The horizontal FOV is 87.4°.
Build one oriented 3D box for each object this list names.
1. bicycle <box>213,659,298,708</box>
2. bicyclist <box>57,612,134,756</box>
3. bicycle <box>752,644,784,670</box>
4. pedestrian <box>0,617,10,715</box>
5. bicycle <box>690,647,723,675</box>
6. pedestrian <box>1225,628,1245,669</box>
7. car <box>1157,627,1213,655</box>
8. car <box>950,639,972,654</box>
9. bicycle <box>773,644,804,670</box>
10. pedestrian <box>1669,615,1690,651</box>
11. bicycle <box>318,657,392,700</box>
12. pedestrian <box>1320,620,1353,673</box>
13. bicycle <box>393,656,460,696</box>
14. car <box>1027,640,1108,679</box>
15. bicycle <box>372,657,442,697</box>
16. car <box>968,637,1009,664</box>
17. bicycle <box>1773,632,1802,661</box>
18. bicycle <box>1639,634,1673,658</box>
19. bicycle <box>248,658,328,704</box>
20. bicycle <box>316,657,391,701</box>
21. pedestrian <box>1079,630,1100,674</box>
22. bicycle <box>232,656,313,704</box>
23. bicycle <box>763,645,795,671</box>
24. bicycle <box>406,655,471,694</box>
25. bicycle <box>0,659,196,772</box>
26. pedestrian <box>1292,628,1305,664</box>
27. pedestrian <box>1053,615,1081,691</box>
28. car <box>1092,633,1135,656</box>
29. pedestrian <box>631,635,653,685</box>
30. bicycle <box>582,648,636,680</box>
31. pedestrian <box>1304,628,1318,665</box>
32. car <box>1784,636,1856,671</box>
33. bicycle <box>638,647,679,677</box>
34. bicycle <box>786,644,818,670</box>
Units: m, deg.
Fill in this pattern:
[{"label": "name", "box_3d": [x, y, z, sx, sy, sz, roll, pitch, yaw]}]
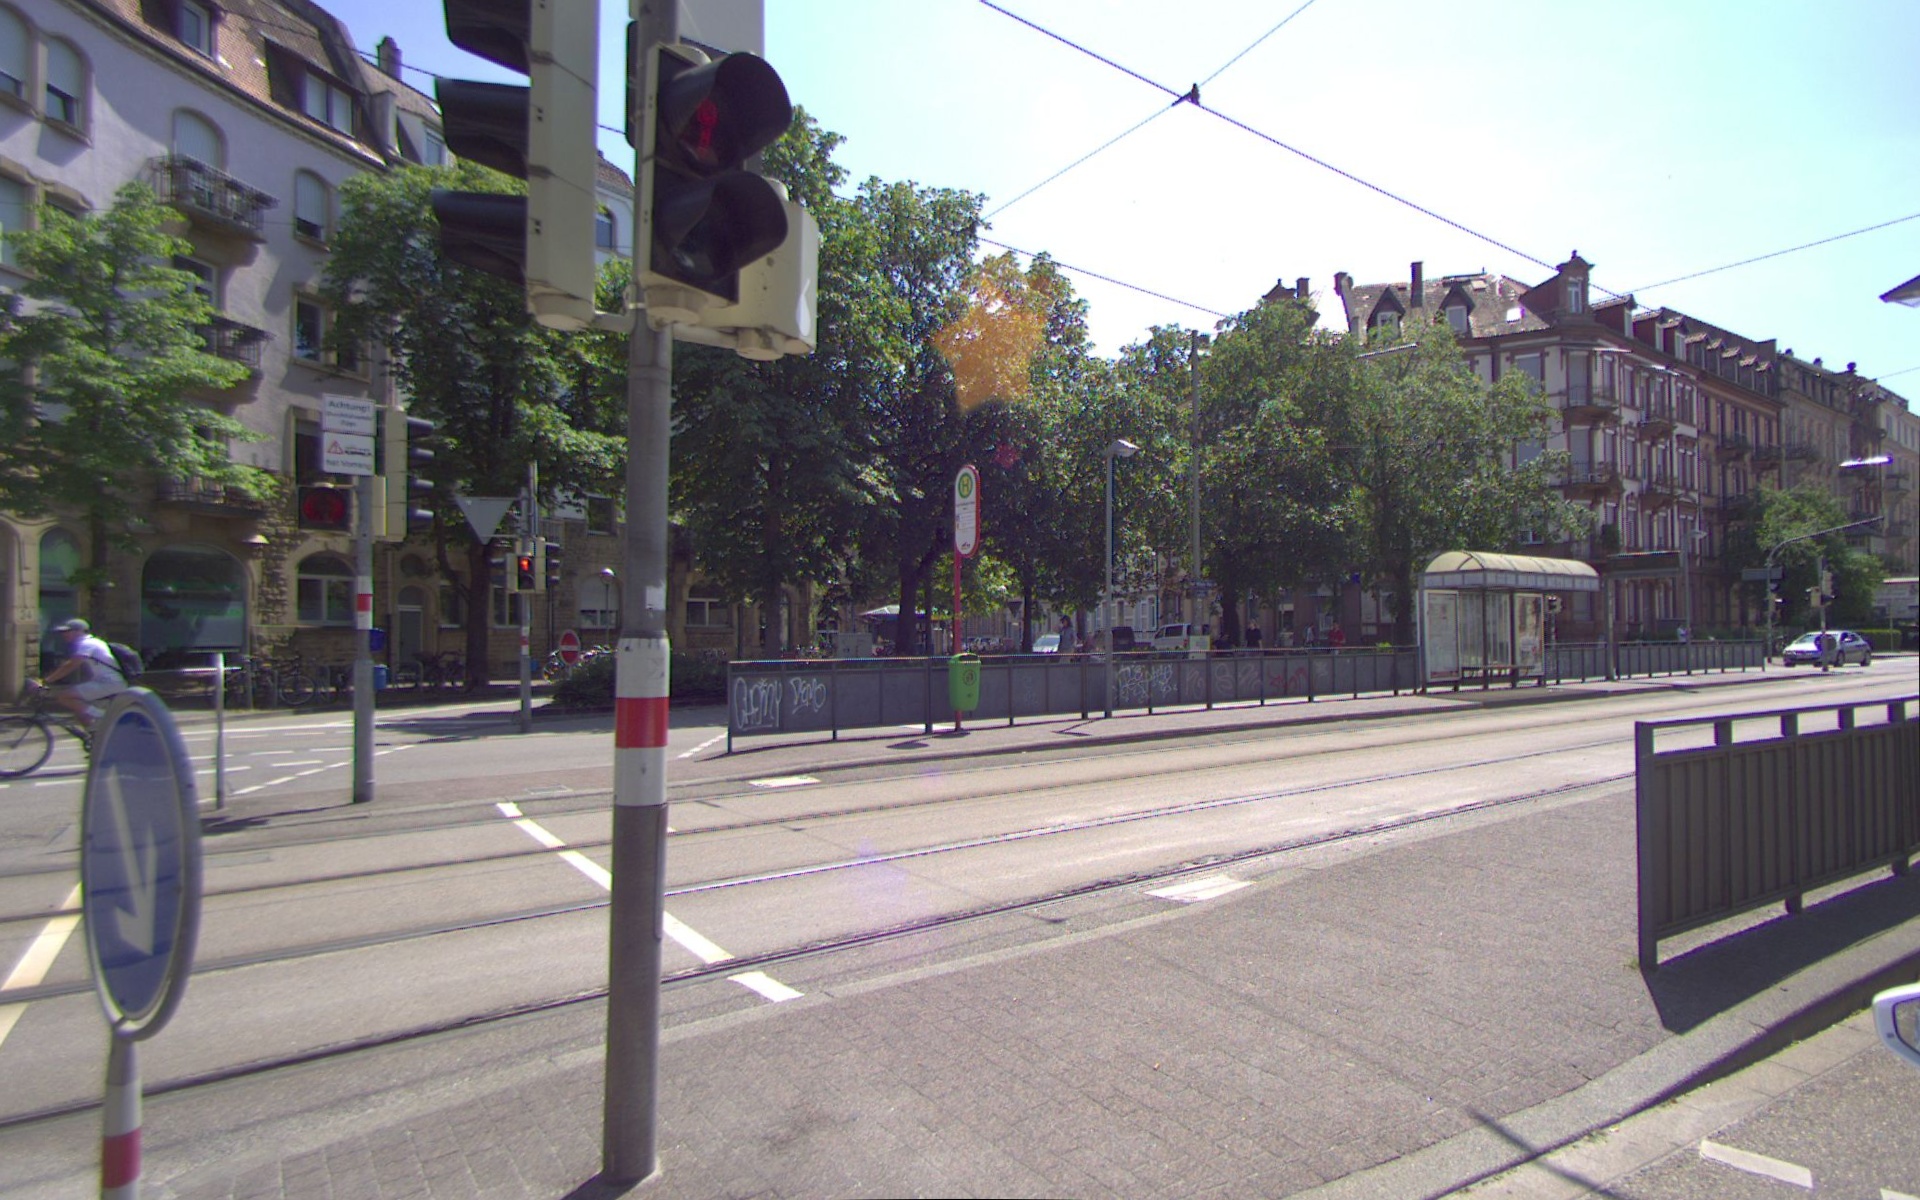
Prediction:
[{"label": "bicycle", "box_3d": [-14.795, 1.742, 21.095, 1.639, 0.987, 0.290, 0, -1, 6]}, {"label": "bicyclist", "box_3d": [-9.905, 0.939, 11.534, 0.580, 1.595, 0.604, 2, -2, -36]}, {"label": "bicycle", "box_3d": [-7.332, 2.178, 38.362, 1.469, 0.969, 0.407, -1, -2, 44]}, {"label": "pedestrian", "box_3d": [-17.732, 1.189, 18.165, 0.722, 1.754, 0.540, 2, -2, -39]}, {"label": "bicycle", "box_3d": [-9.085, 2.166, 35.954, 1.469, 0.969, 0.407, -1, -2, 44]}, {"label": "pedestrian", "box_3d": [8.868, 1.563, 32.413, 0.606, 1.304, 0.646, 0, -2, 14]}, {"label": "car", "box_3d": [11.913, 2.162, 53.418, 1.514, 1.461, 3.734, 1, -2, -11]}, {"label": "car", "box_3d": [0.108, 4.710, 101.302, 1.514, 1.461, 3.734, 1, -2, -11]}, {"label": "bicycle", "box_3d": [-6.701, 2.221, 39.214, 1.469, 0.969, 0.407, -1, -2, 44]}, {"label": "pedestrian", "box_3d": [33.563, 1.548, 46.890, 0.640, 1.637, 0.470, 0, 1, 12]}, {"label": "bicycle", "box_3d": [-14.381, 1.857, 23.874, 1.639, 0.987, 0.290, 0, -1, 6]}, {"label": "pedestrian", "box_3d": [11.623, 1.430, 30.984, 0.767, 1.626, 0.674, 2, -2, -40]}, {"label": "bicycle", "box_3d": [-13.899, 1.973, 26.175, 1.639, 0.987, 0.290, 0, -1, 6]}, {"label": "car", "box_3d": [4.682, 2.558, 43.394, 3.563, 1.596, 1.562, 2, -2, -44]}, {"label": "bicycle", "box_3d": [-13.957, 1.942, 25.357, 1.639, 0.987, 0.290, 0, -1, 6]}, {"label": "car", "box_3d": [1.615, 2.905, 57.702, 1.514, 1.461, 3.734, 1, -2, -11]}, {"label": "bicycle", "box_3d": [42.047, 2.368, 51.063, 0.605, 1.413, 2.305, 0, -2, 27]}, {"label": "bicycle", "box_3d": [34.194, 2.260, 49.363, 1.491, 1.185, 0.364, 0, 0, -6]}, {"label": "bicycle", "box_3d": [-14.925, 1.799, 22.316, 1.639, 0.987, 0.290, 0, -1, 6]}, {"label": "bicycle", "box_3d": [-14.207, 1.849, 23.518, 1.639, 0.987, 0.290, 0, -1, 6]}, {"label": "pedestrian", "box_3d": [3.771, 1.500, 29.198, 0.539, 1.272, 0.646, 0, -2, 14]}, {"label": "bicycle", "box_3d": [-14.999, 1.739, 21.912, 1.639, 0.987, 0.290, 0, -1, 6]}, {"label": "bicycle", "box_3d": [-7.005, 2.249, 38.851, 1.469, 0.969, 0.407, -1, -2, 44]}, {"label": "bicycle", "box_3d": [-13.825, 1.968, 26.630, 1.639, 0.987, 0.290, 0, -1, 6]}, {"label": "bicycle", "box_3d": [-9.974, 1.284, 11.471, 1.959, 1.172, 0.623, 1, -1, -37]}, {"label": "pedestrian", "box_3d": [17.236, 2.331, 51.134, 0.499, 1.791, 0.528, 0, -2, 32]}, {"label": "pedestrian", "box_3d": [2.710, 1.333, 25.538, 0.488, 1.904, 0.508, 2, -2, -32]}, {"label": "car", "box_3d": [9.849, 2.837, 64.614, 1.514, 1.461, 3.734, 1, -2, -11]}, {"label": "pedestrian", "box_3d": [-11.609, 2.178, 36.632, 0.618, 1.800, 0.606, 2, -2, -32]}, {"label": "bicycle", "box_3d": [-11.137, 2.039, 31.913, 1.639, 0.987, 0.290, 0, -1, 6]}, {"label": "pedestrian", "box_3d": [17.594, 2.326, 50.371, 0.555, 1.849, 0.634, 0, -2, 32]}, {"label": "car", "box_3d": [34.555, 2.138, 40.343, 3.686, 1.356, 1.529, 2, -2, -38]}, {"label": "bicycle", "box_3d": [-10.288, 2.117, 34.266, 1.463, 0.969, 0.409, 0, -2, 28]}, {"label": "bicycle", "box_3d": [-6.243, 2.235, 39.693, 1.469, 0.969, 0.407, -1, -2, 44]}]
